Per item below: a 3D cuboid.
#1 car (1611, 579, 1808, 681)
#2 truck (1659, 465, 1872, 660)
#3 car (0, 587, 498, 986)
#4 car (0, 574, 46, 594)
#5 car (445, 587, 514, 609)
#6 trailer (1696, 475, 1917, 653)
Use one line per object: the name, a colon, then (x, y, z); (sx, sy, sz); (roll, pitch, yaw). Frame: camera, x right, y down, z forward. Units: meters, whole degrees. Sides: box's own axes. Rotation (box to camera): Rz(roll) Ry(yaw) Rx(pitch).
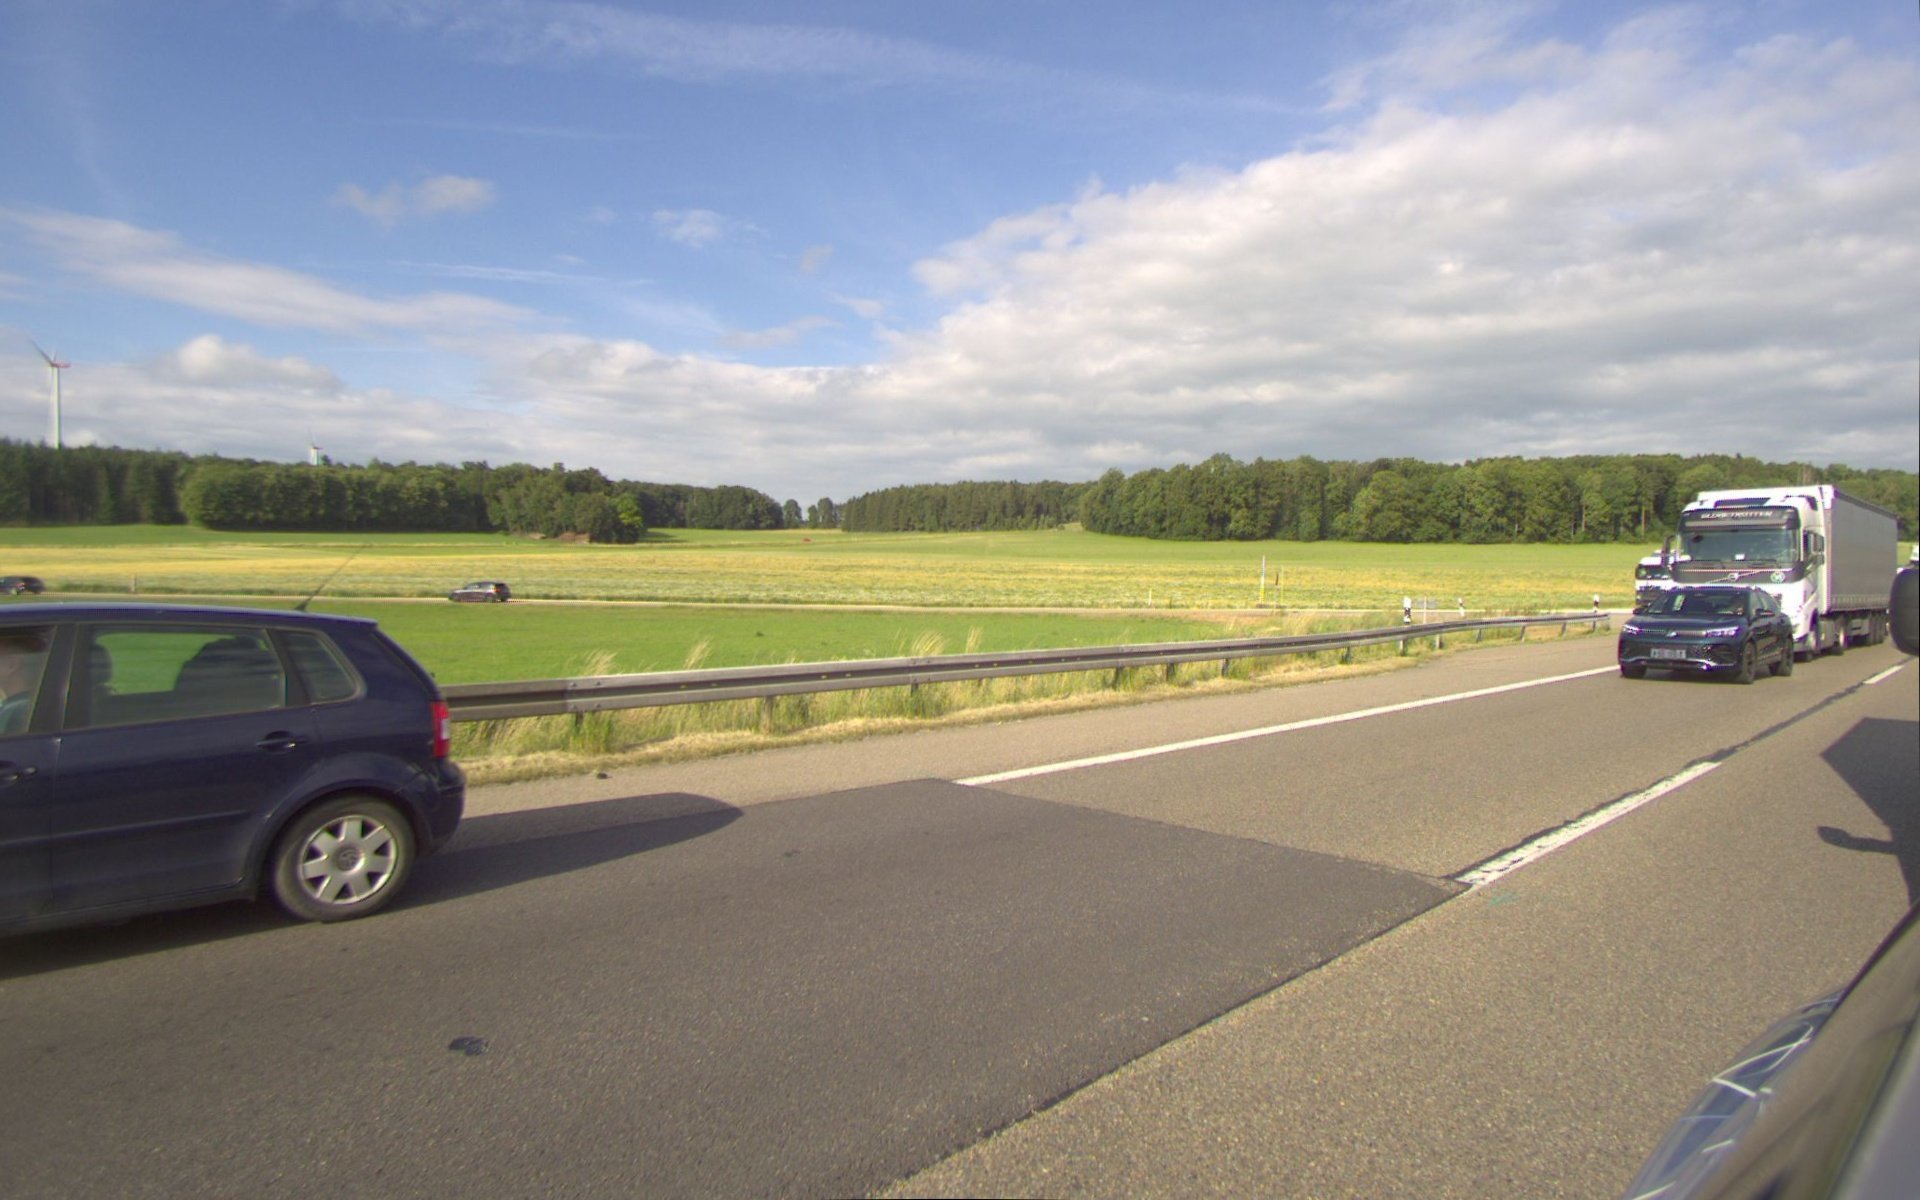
car: (13.435, 0.448, 18.069); (4.047, 1.616, 1.997); (-1, 1, -41)
truck: (19.333, -0.821, 24.159); (6.387, 4.040, 2.840); (-1, 0, -41)
car: (-4.184, 0.687, 4.308); (3.710, 1.464, 1.712); (-1, 1, -42)
car: (-72.990, -1.257, 77.923); (4.154, 1.505, 1.832); (0, 0, 12)
car: (-33.821, -0.140, 71.327); (4.154, 1.505, 1.832); (0, 0, 12)
trailer: (23.674, -0.882, 27.935); (11.916, 4.032, 2.824); (-1, 0, -41)
